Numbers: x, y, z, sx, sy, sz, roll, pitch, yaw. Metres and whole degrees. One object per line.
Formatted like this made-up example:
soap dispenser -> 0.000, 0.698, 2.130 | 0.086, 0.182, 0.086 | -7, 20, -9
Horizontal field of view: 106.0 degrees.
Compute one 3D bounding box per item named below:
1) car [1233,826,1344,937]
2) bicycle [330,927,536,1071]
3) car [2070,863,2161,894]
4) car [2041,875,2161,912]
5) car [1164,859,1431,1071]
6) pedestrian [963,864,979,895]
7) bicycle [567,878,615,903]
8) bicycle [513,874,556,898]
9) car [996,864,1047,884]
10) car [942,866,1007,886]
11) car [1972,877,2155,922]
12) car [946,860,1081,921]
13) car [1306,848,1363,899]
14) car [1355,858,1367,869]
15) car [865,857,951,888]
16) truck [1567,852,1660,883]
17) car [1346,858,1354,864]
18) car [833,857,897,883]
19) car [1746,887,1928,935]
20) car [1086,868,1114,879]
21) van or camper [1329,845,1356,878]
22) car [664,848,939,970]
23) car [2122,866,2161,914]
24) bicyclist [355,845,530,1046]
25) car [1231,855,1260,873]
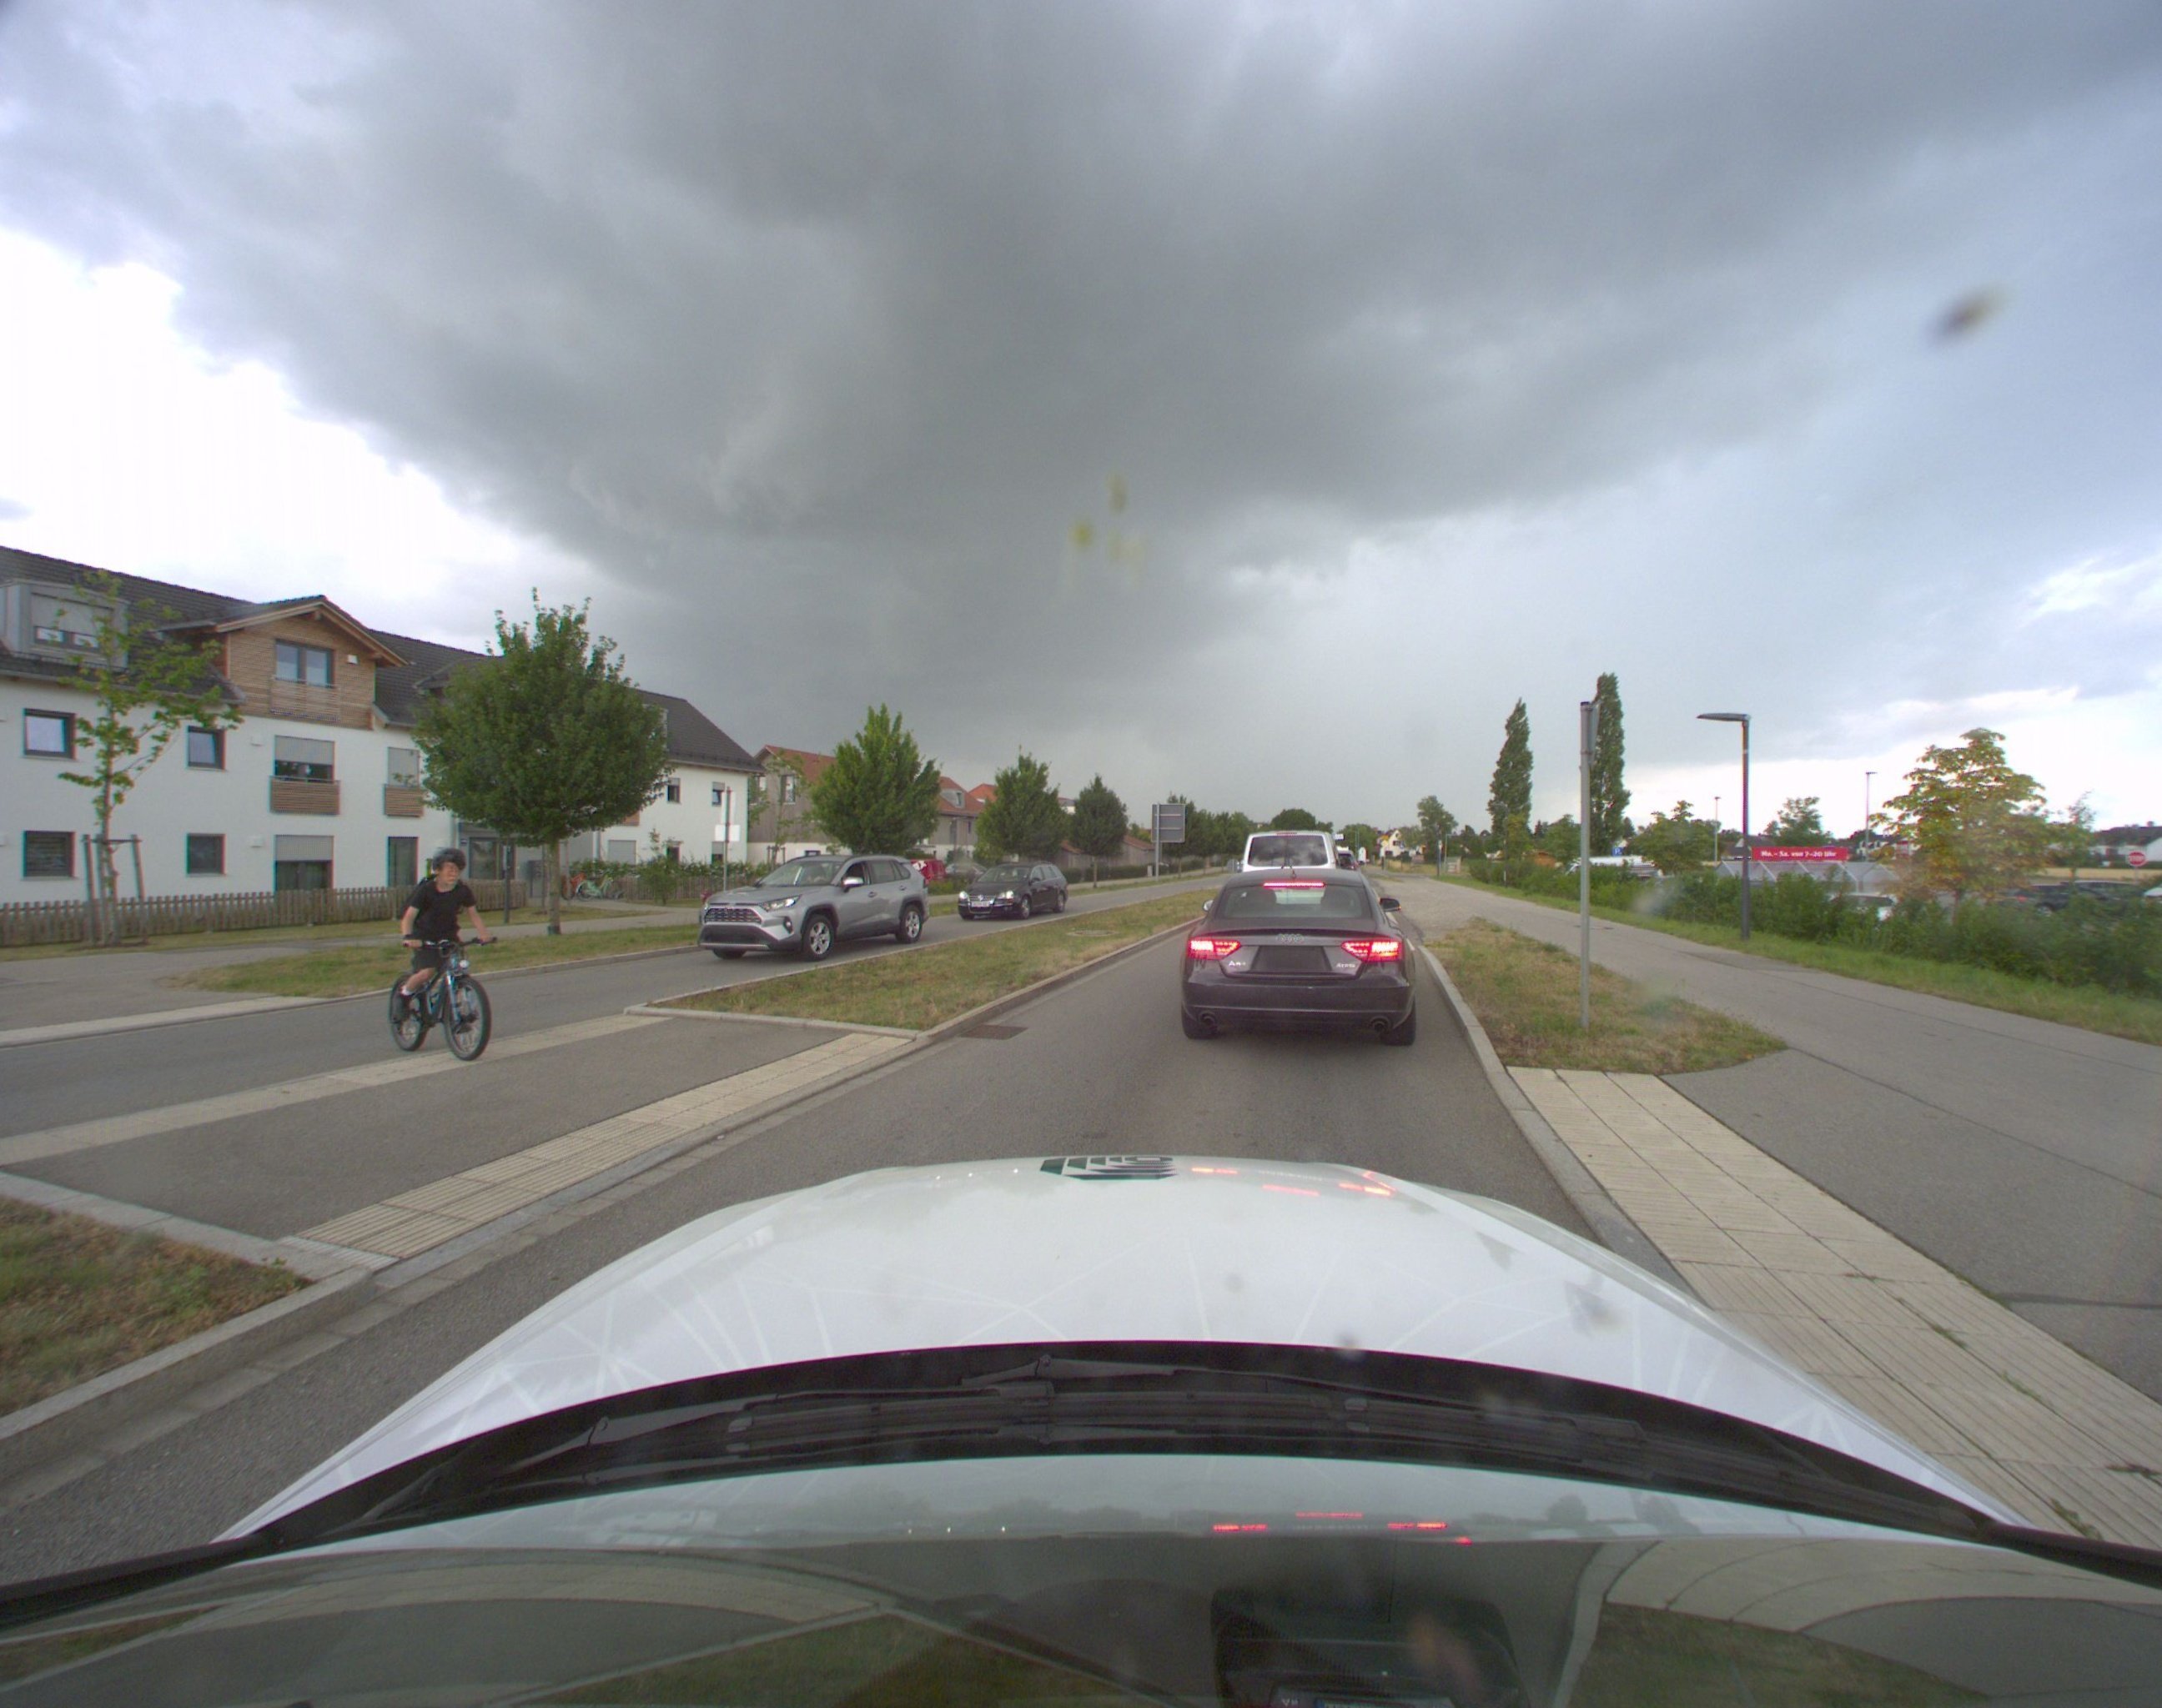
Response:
car -> 4.334, 0.521, 16.803 | 1.853, 1.934, 4.017 | -3, -1, 16
bicycle -> -5.035, 1.073, 6.312 | 1.693, 0.946, 0.500 | -1, -1, 23
car -> 66.164, 1.536, 51.599 | 3.953, 1.838, 2.011 | 1, 0, 22
car -> 48.375, 1.820, 38.024 | 4.277, 1.578, 1.776 | 0, 0, 20
car -> 2.050, 0.775, 7.666 | 1.770, 1.391, 4.150 | -1, 0, 16
pedestrian -> -5.759, 1.315, 42.520 | 0.577, 1.559, 0.663 | 0, 0, 16
bicycle -> -17.766, 1.316, 29.553 | 0.364, 0.843, 1.554 | 3, 1, 20
bicycle -> -20.367, 1.176, 30.373 | 0.364, 0.843, 1.344 | 3, 1, 20
car -> -4.753, 1.571, 64.941 | 3.702, 1.482, 1.693 | 1, 0, 15
car -> -7.235, 1.482, 55.418 | 3.885, 1.315, 1.850 | 0, 0, 16
car -> 40.846, 1.852, 33.999 | 4.520, 1.664, 2.009 | 0, 0, 18
car -> -1.678, 0.908, 21.866 | 1.738, 1.416, 4.479 | -3, -1, 22
car -> 8.878, 0.638, 28.471 | 1.762, 1.618, 4.018 | 0, 0, 18
car -> 40.230, 1.353, 117.154 | 1.600, 1.631, 3.633 | 1, 0, 19
car -> -10.074, 1.045, 47.363 | 4.491, 1.680, 2.010 | 0, 0, 21
truck -> 35.014, 0.879, 53.682 | 4.762, 1.872, 2.007 | 1, -1, 14
car -> 58.112, 1.585, 175.617 | 1.600, 1.272, 3.478 | 1, 0, 19
car -> -14.973, 1.089, 56.703 | 1.976, 1.772, 4.490 | 0, -1, 23
car -> 26.108, 1.925, 28.325 | 4.199, 1.440, 2.009 | 0, 0, 18
car -> 1.865, 1.906, 78.744 | 2.455, 1.028, 1.189 | 0, 0, 12
van or camper -> 28.211, 0.835, 87.785 | 2.604, 3.324, 6.852 | 1, -1, 18
car -> -4.437, 0.790, 13.847 | 1.977, 1.704, 4.656 | -1, -1, 18
car -> 49.030, 1.543, 35.161 | 5.080, 2.013, 2.005 | 0, 1, 7
bicyclist -> -4.969, 0.664, 6.359 | 0.859, 1.446, 0.728 | -1, 0, 23
car -> 13.280, 0.791, 65.445 | 1.716, 1.410, 4.226 | 1, 0, 19
